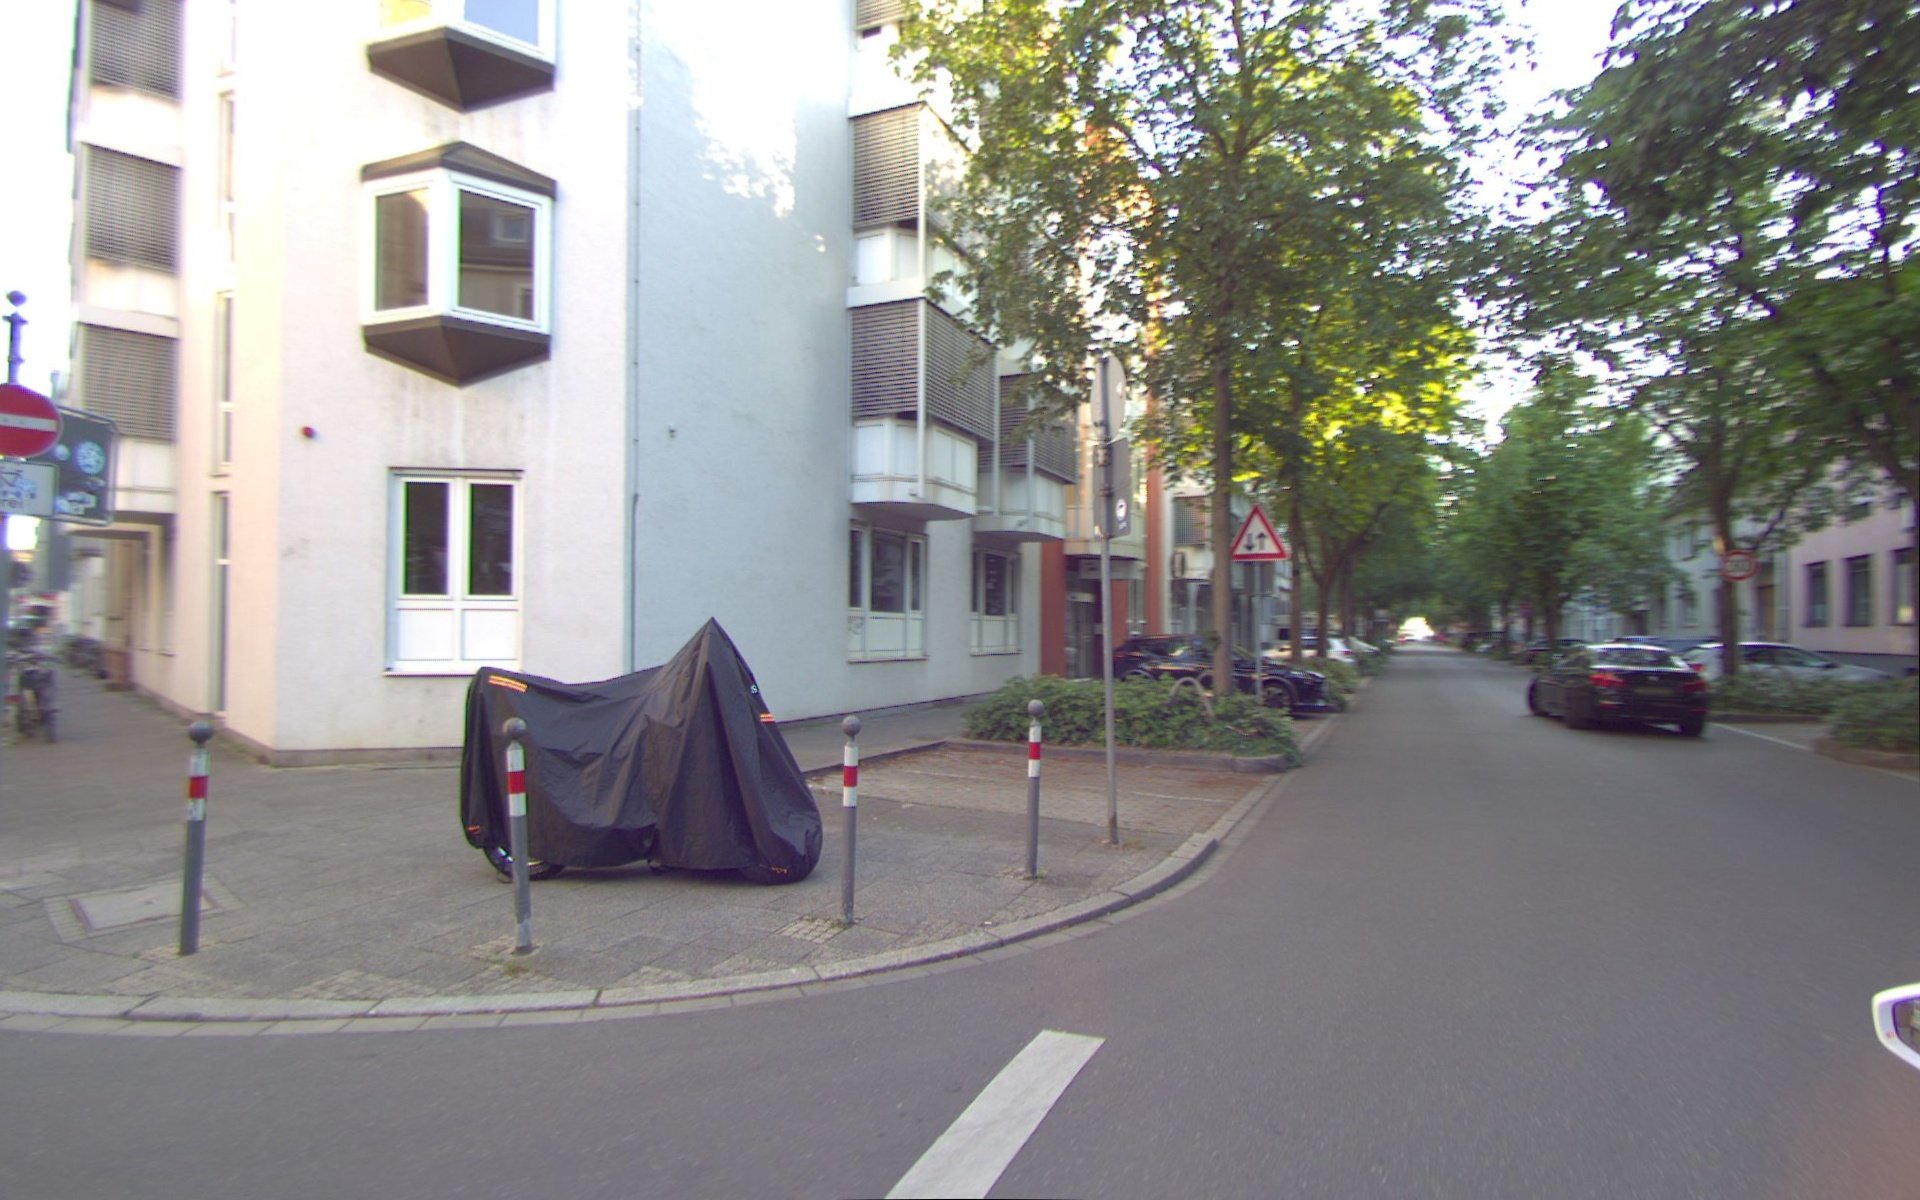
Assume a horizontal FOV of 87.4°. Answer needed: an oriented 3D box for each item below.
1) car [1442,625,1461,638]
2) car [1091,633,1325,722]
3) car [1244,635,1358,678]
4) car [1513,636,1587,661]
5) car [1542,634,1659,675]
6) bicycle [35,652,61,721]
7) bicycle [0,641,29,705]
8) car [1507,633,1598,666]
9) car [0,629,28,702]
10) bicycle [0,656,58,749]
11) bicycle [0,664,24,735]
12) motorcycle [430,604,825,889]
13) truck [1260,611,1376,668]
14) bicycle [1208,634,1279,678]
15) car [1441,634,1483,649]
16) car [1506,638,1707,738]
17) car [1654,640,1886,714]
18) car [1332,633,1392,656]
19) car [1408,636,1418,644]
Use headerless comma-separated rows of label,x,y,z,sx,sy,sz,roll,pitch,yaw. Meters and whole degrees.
car,62.974,4.025,128.717,1.962,1.572,3.998,0,-2,23
car,4.970,1.472,20.123,4.287,1.529,1.834,1,-1,24
car,13.283,2.183,39.115,4.066,1.491,1.639,1,-1,24
car,34.976,2.863,59.660,3.598,1.411,1.565,0,-2,22
car,25.710,2.174,40.441,3.731,1.550,1.565,0,-2,22
bicycle,-15.138,1.411,16.670,0.306,1.056,1.790,0,-1,-42
bicycle,-19.085,1.443,20.151,0.593,1.203,2.237,0,-1,-43
car,28.907,2.414,49.121,3.598,1.557,1.565,0,-2,22
car,-22.664,1.461,22.985,4.016,1.597,1.785,-2,-2,45
bicycle,-12.256,1.309,13.179,1.786,1.117,0.399,-1,-1,40
bicycle,-13.984,1.433,14.687,1.788,0.944,0.306,-2,-2,43
motorcycle,-1.929,0.824,5.996,2.119,1.576,0.670,0,-1,4
truck,16.680,1.809,46.865,4.921,2.473,1.914,1,0,25
bicycle,8.079,1.598,28.697,1.936,1.215,0.502,0,-1,13
car,50.329,4.164,100.763,3.598,1.411,1.565,0,-2,22
car,11.129,1.426,17.677,1.733,1.469,4.670,0,-2,17
car,17.452,1.631,21.847,3.598,1.498,1.565,-1,-2,22
car,28.754,3.180,71.835,3.957,1.491,1.639,1,-1,24
car,90.647,8.011,200.973,1.865,1.494,3.998,0,-2,24
